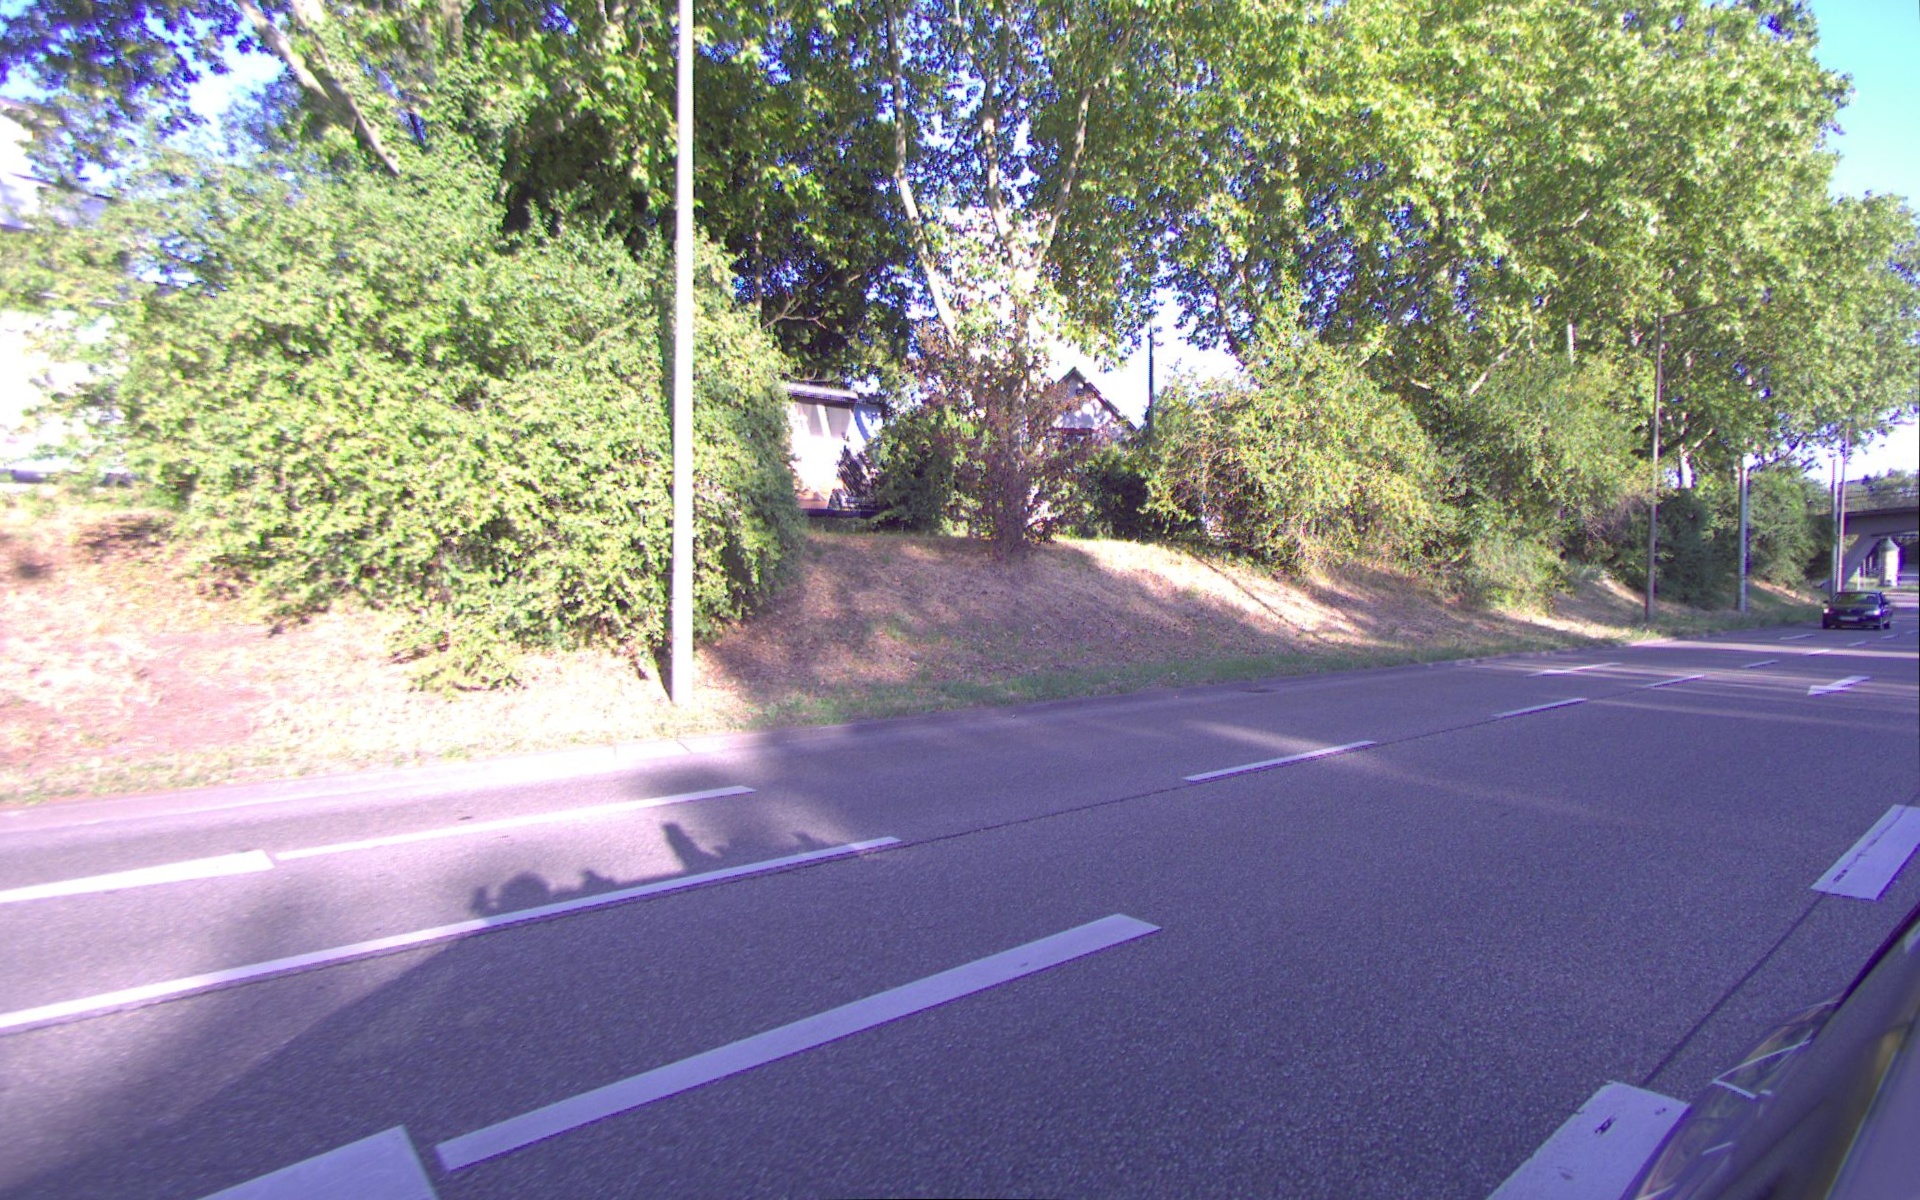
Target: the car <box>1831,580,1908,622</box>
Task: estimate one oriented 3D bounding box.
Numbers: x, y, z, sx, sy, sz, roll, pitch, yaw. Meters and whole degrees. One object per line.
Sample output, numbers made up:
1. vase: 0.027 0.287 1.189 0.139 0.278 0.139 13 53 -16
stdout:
1. car: 33.983 -0.007 37.775 3.915 1.460 1.628 -1 1 -40
